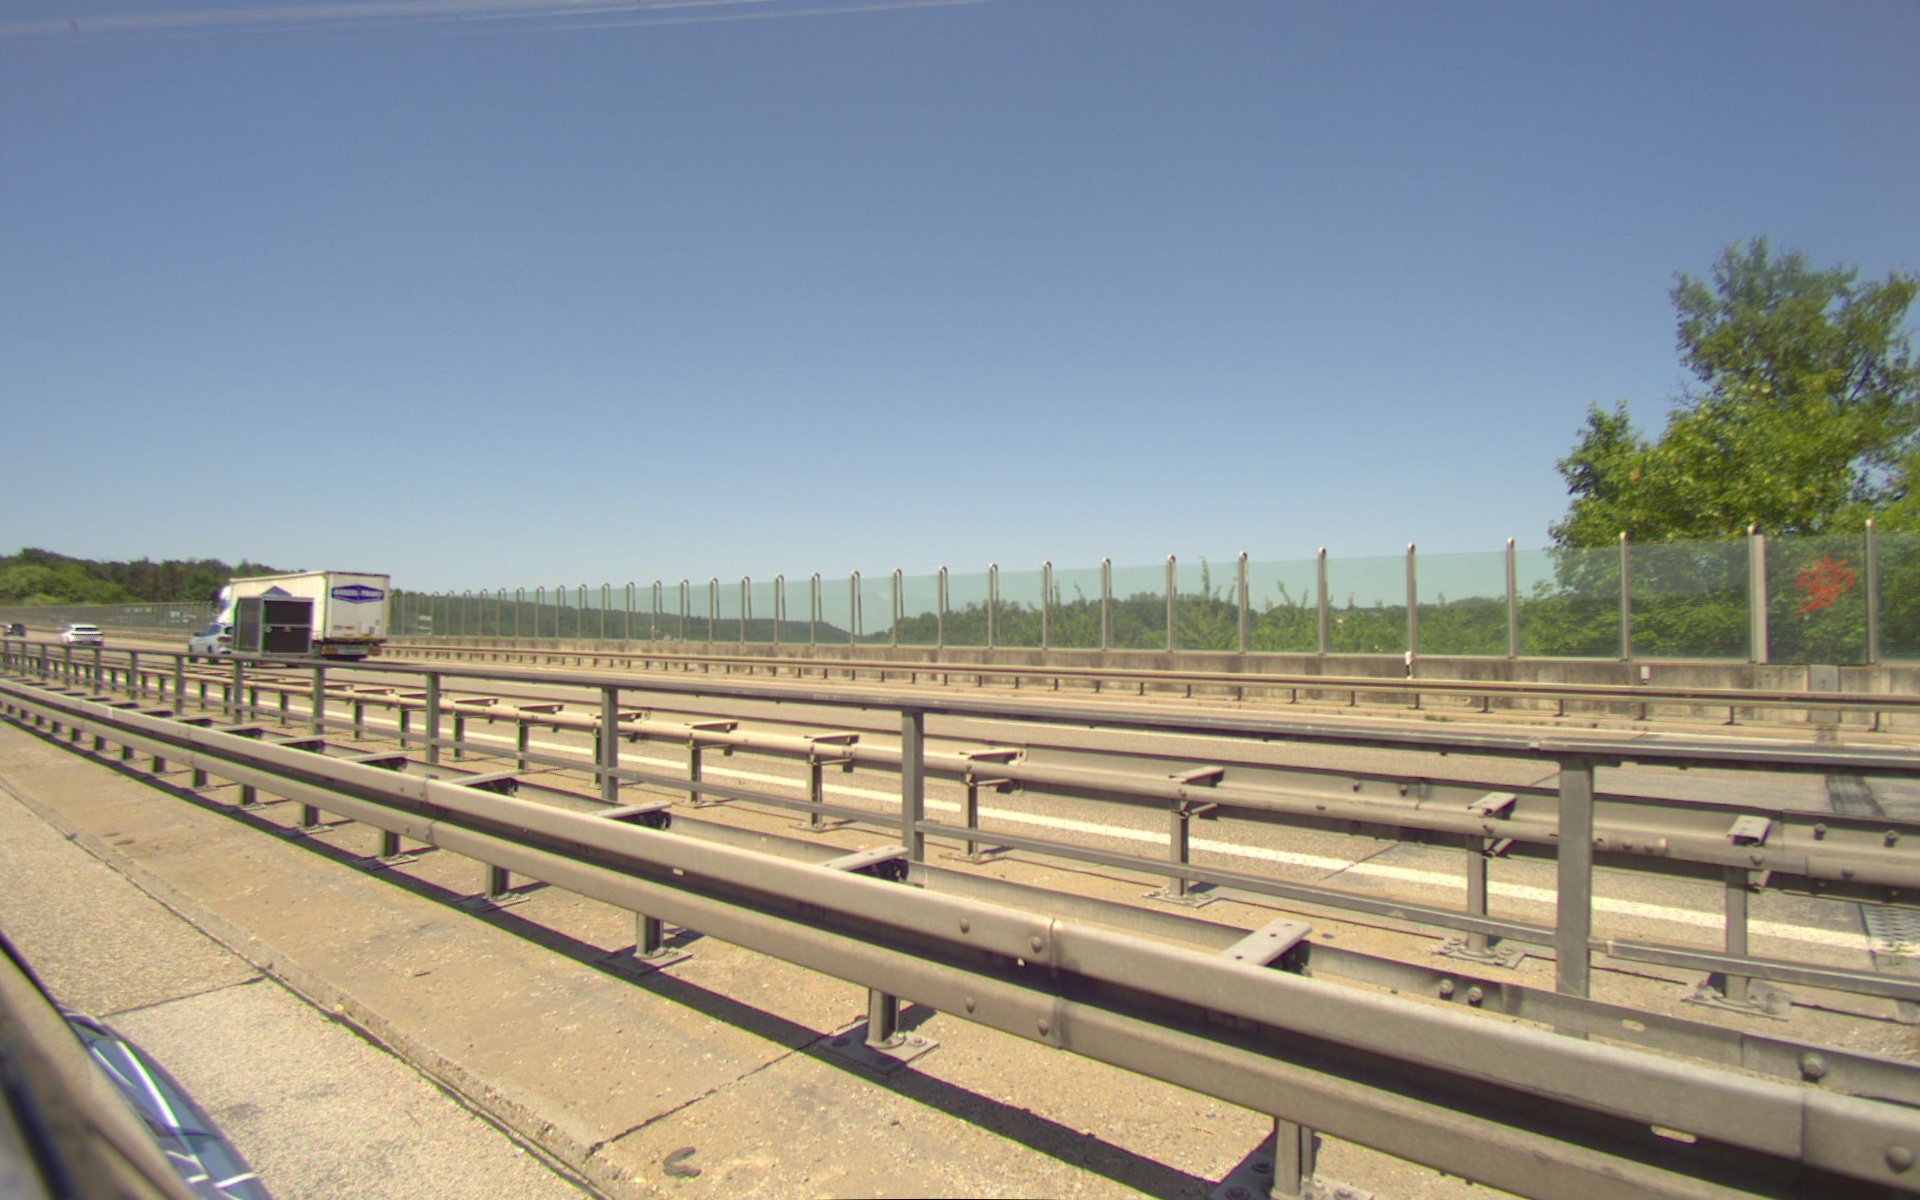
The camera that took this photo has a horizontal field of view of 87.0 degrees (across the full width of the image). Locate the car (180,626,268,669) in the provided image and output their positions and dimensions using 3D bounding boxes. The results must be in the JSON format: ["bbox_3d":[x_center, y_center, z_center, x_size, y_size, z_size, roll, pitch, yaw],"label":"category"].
[{"bbox_3d":[-30.276,1.920,41.597,4.626,1.638,1.851,-1,-3,41],"label":"car"}]

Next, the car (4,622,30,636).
[{"bbox_3d":[-102.051,3.152,109.527,3.540,1.473,1.635,-1,-3,41],"label":"car"}]

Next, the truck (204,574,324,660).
[{"bbox_3d":[-36.515,0.934,53.110,4.854,4.261,3.965,-1,-3,40],"label":"truck"}]

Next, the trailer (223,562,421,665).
[{"bbox_3d":[-30.557,0.758,47.996,14.030,4.268,3.948,-1,-3,41],"label":"trailer"}]

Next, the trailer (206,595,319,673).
[{"bbox_3d":[-26.559,1.279,38.468,5.373,2.798,2.143,-1,-3,41],"label":"trailer"}]

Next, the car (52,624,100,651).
[{"bbox_3d":[-58.404,2.458,66.830,4.382,1.709,1.731,-1,-3,41],"label":"car"}]
